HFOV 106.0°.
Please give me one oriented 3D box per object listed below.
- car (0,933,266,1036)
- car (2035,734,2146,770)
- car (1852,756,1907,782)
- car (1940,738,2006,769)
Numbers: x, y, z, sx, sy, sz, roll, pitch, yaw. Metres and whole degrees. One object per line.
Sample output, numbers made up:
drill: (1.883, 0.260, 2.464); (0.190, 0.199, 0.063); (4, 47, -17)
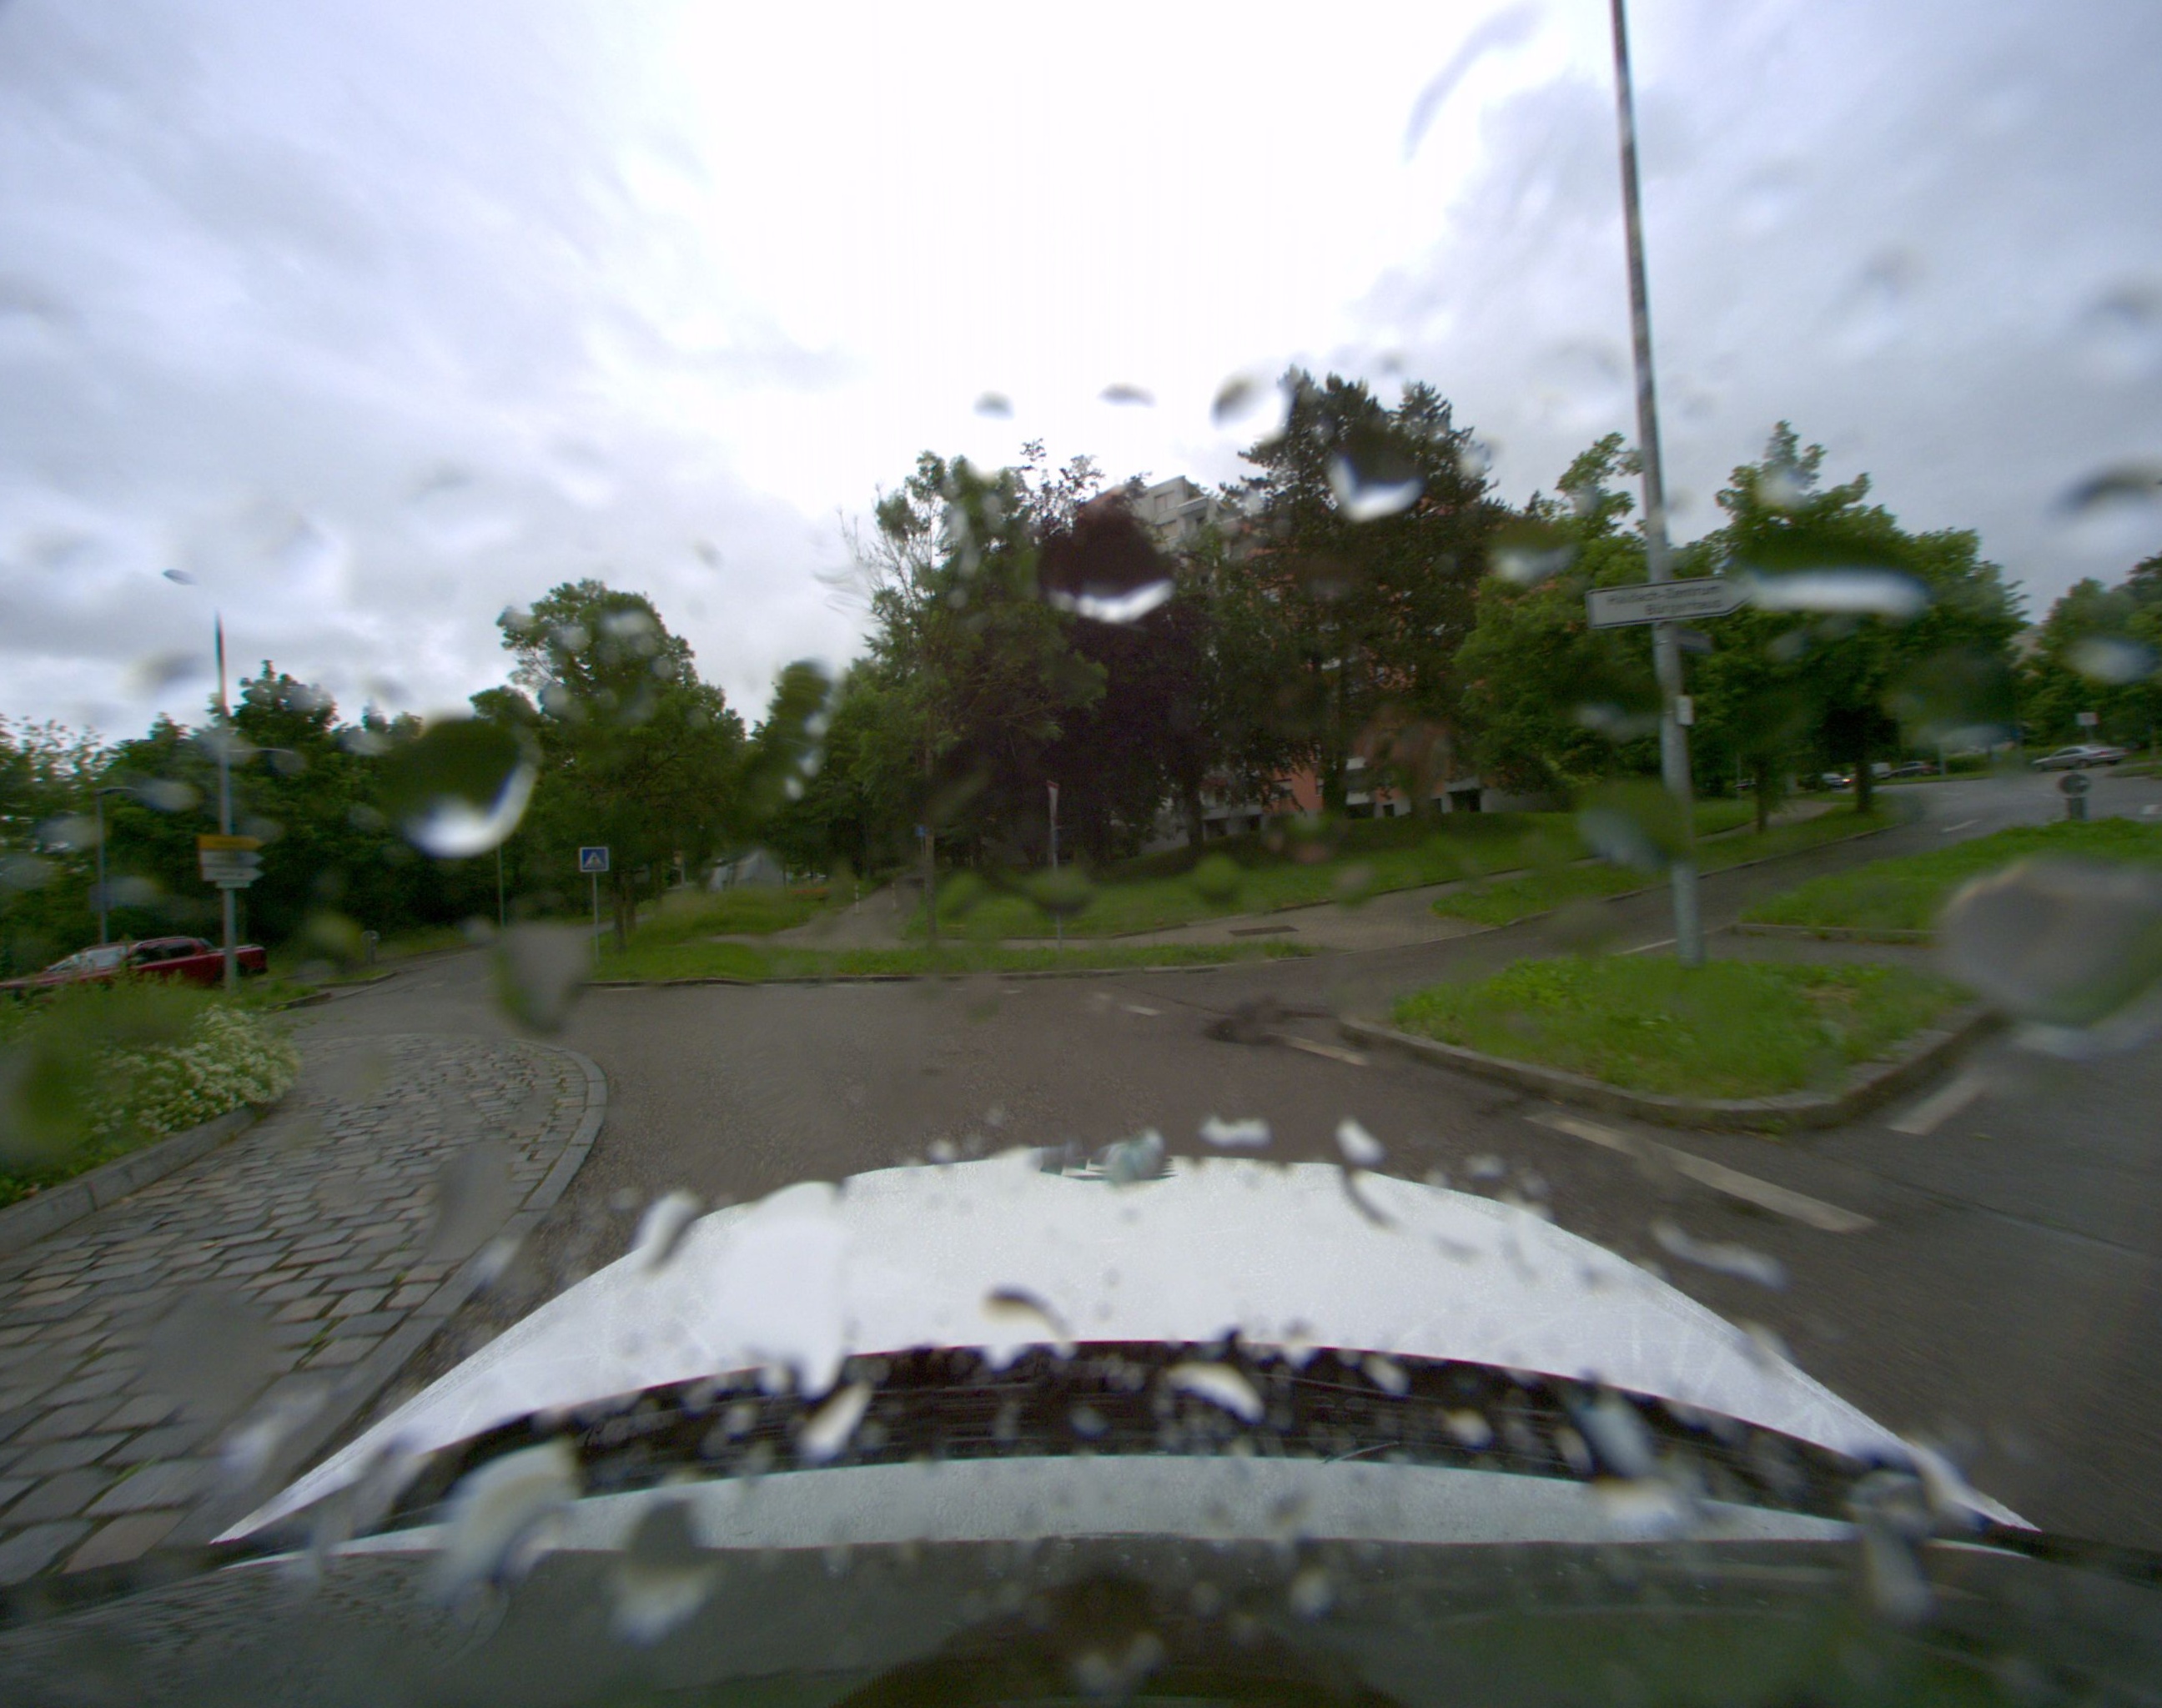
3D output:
car: (-24.147, 3.187, 20.694); (1.991, 1.795, 5.099); (-4, -1, -6)
car: (62.924, -6.355, 50.871); (1.874, 1.565, 4.000); (-4, -1, 1)
car: (73.309, -7.773, 74.820); (1.977, 1.873, 4.020); (-5, -1, 20)
car: (71.942, -8.073, 65.748); (1.831, 1.873, 3.880); (-5, -1, 18)
